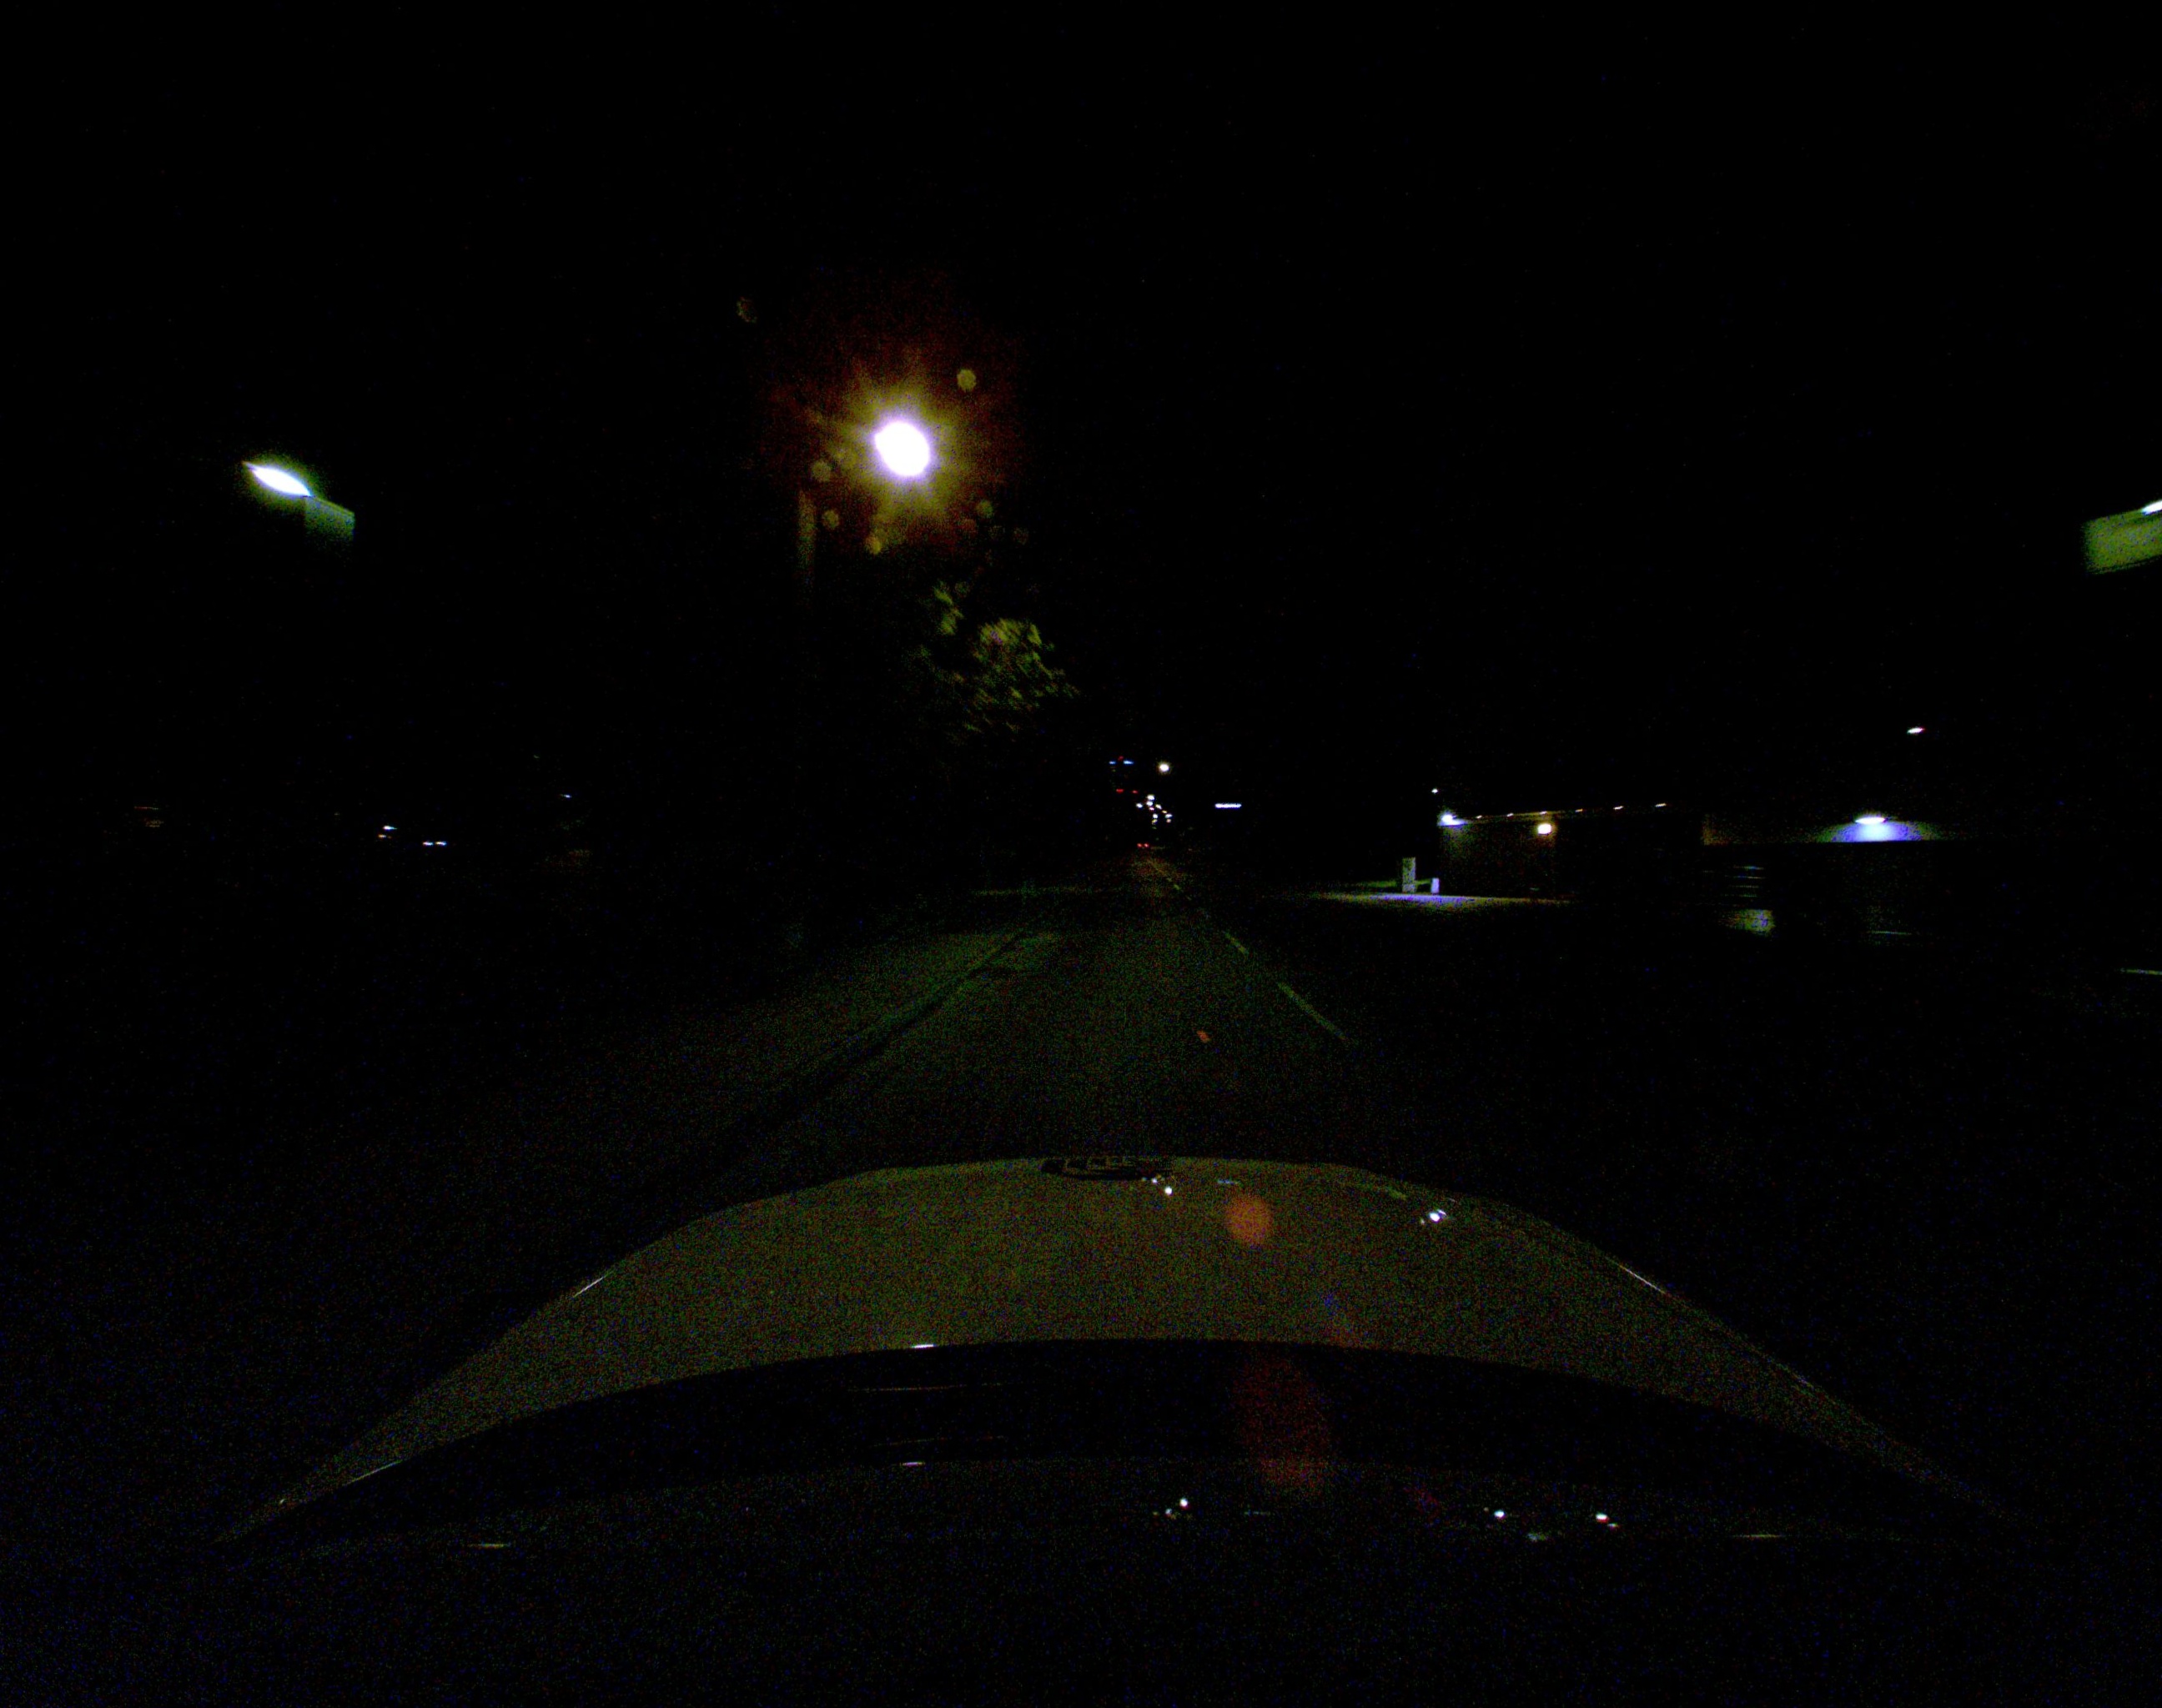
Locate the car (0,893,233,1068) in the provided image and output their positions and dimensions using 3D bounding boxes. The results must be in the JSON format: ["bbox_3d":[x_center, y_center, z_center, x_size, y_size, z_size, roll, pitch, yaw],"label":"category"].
[{"bbox_3d":[-10.673,1.139,8.101,1.975,1.383,3.962,0,-1,-29],"label":"car"}]

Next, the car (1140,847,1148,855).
[{"bbox_3d":[15.074,-0.696,196.034,1.916,1.854,4.004,-1,-1,4],"label":"car"}]

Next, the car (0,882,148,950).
[{"bbox_3d":[-25.210,1.446,20.023,1.715,1.510,4.060,1,-2,-30],"label":"car"}]

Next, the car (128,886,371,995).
[{"bbox_3d":[-12.927,1.246,12.948,1.708,1.392,3.593,0,-1,-29],"label":"car"}]

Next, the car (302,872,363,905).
[{"bbox_3d":[-41.530,1.892,45.254,1.648,1.760,3.925,0,-1,-30],"label":"car"}]

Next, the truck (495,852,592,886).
[{"bbox_3d":[-46.220,1.301,70.266,6.822,2.844,1.980,1,-1,-32],"label":"truck"}]
